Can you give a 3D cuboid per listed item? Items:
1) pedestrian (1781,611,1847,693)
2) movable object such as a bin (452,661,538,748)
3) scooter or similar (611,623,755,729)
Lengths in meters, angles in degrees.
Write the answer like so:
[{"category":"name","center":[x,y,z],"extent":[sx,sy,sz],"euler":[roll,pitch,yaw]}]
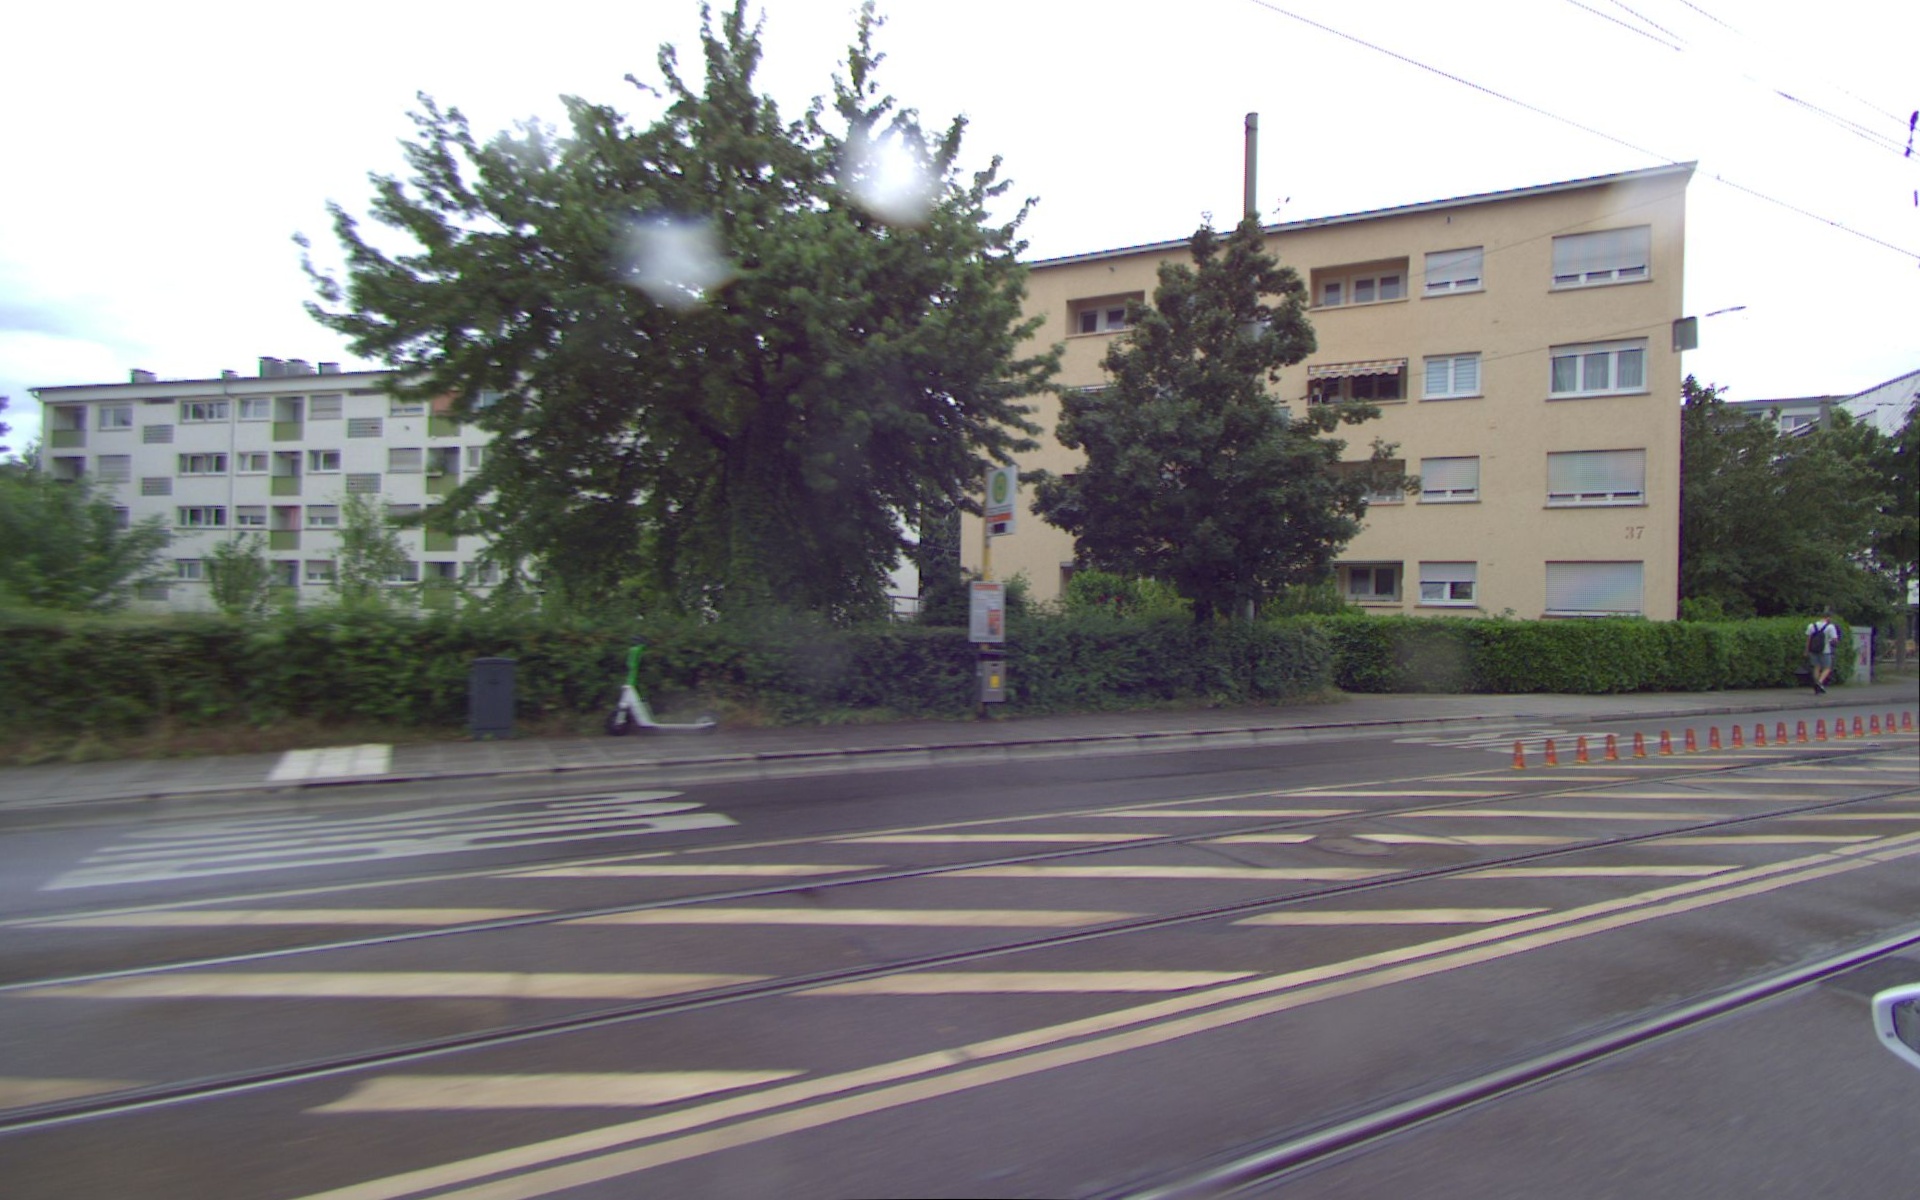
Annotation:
[{"category":"pedestrian","center":[20.086,1.208,23.633],"extent":[1.007,1.870,0.913],"euler":[2,0,-34]},{"category":"movable object such as a bin","center":[-5.217,1.146,11.256],"extent":[0.753,0.893,0.682],"euler":[2,-1,-34]},{"category":"scooter or similar","center":[-3.303,0.900,11.991],"extent":[1.575,1.200,0.572],"euler":[2,-1,-19]}]
